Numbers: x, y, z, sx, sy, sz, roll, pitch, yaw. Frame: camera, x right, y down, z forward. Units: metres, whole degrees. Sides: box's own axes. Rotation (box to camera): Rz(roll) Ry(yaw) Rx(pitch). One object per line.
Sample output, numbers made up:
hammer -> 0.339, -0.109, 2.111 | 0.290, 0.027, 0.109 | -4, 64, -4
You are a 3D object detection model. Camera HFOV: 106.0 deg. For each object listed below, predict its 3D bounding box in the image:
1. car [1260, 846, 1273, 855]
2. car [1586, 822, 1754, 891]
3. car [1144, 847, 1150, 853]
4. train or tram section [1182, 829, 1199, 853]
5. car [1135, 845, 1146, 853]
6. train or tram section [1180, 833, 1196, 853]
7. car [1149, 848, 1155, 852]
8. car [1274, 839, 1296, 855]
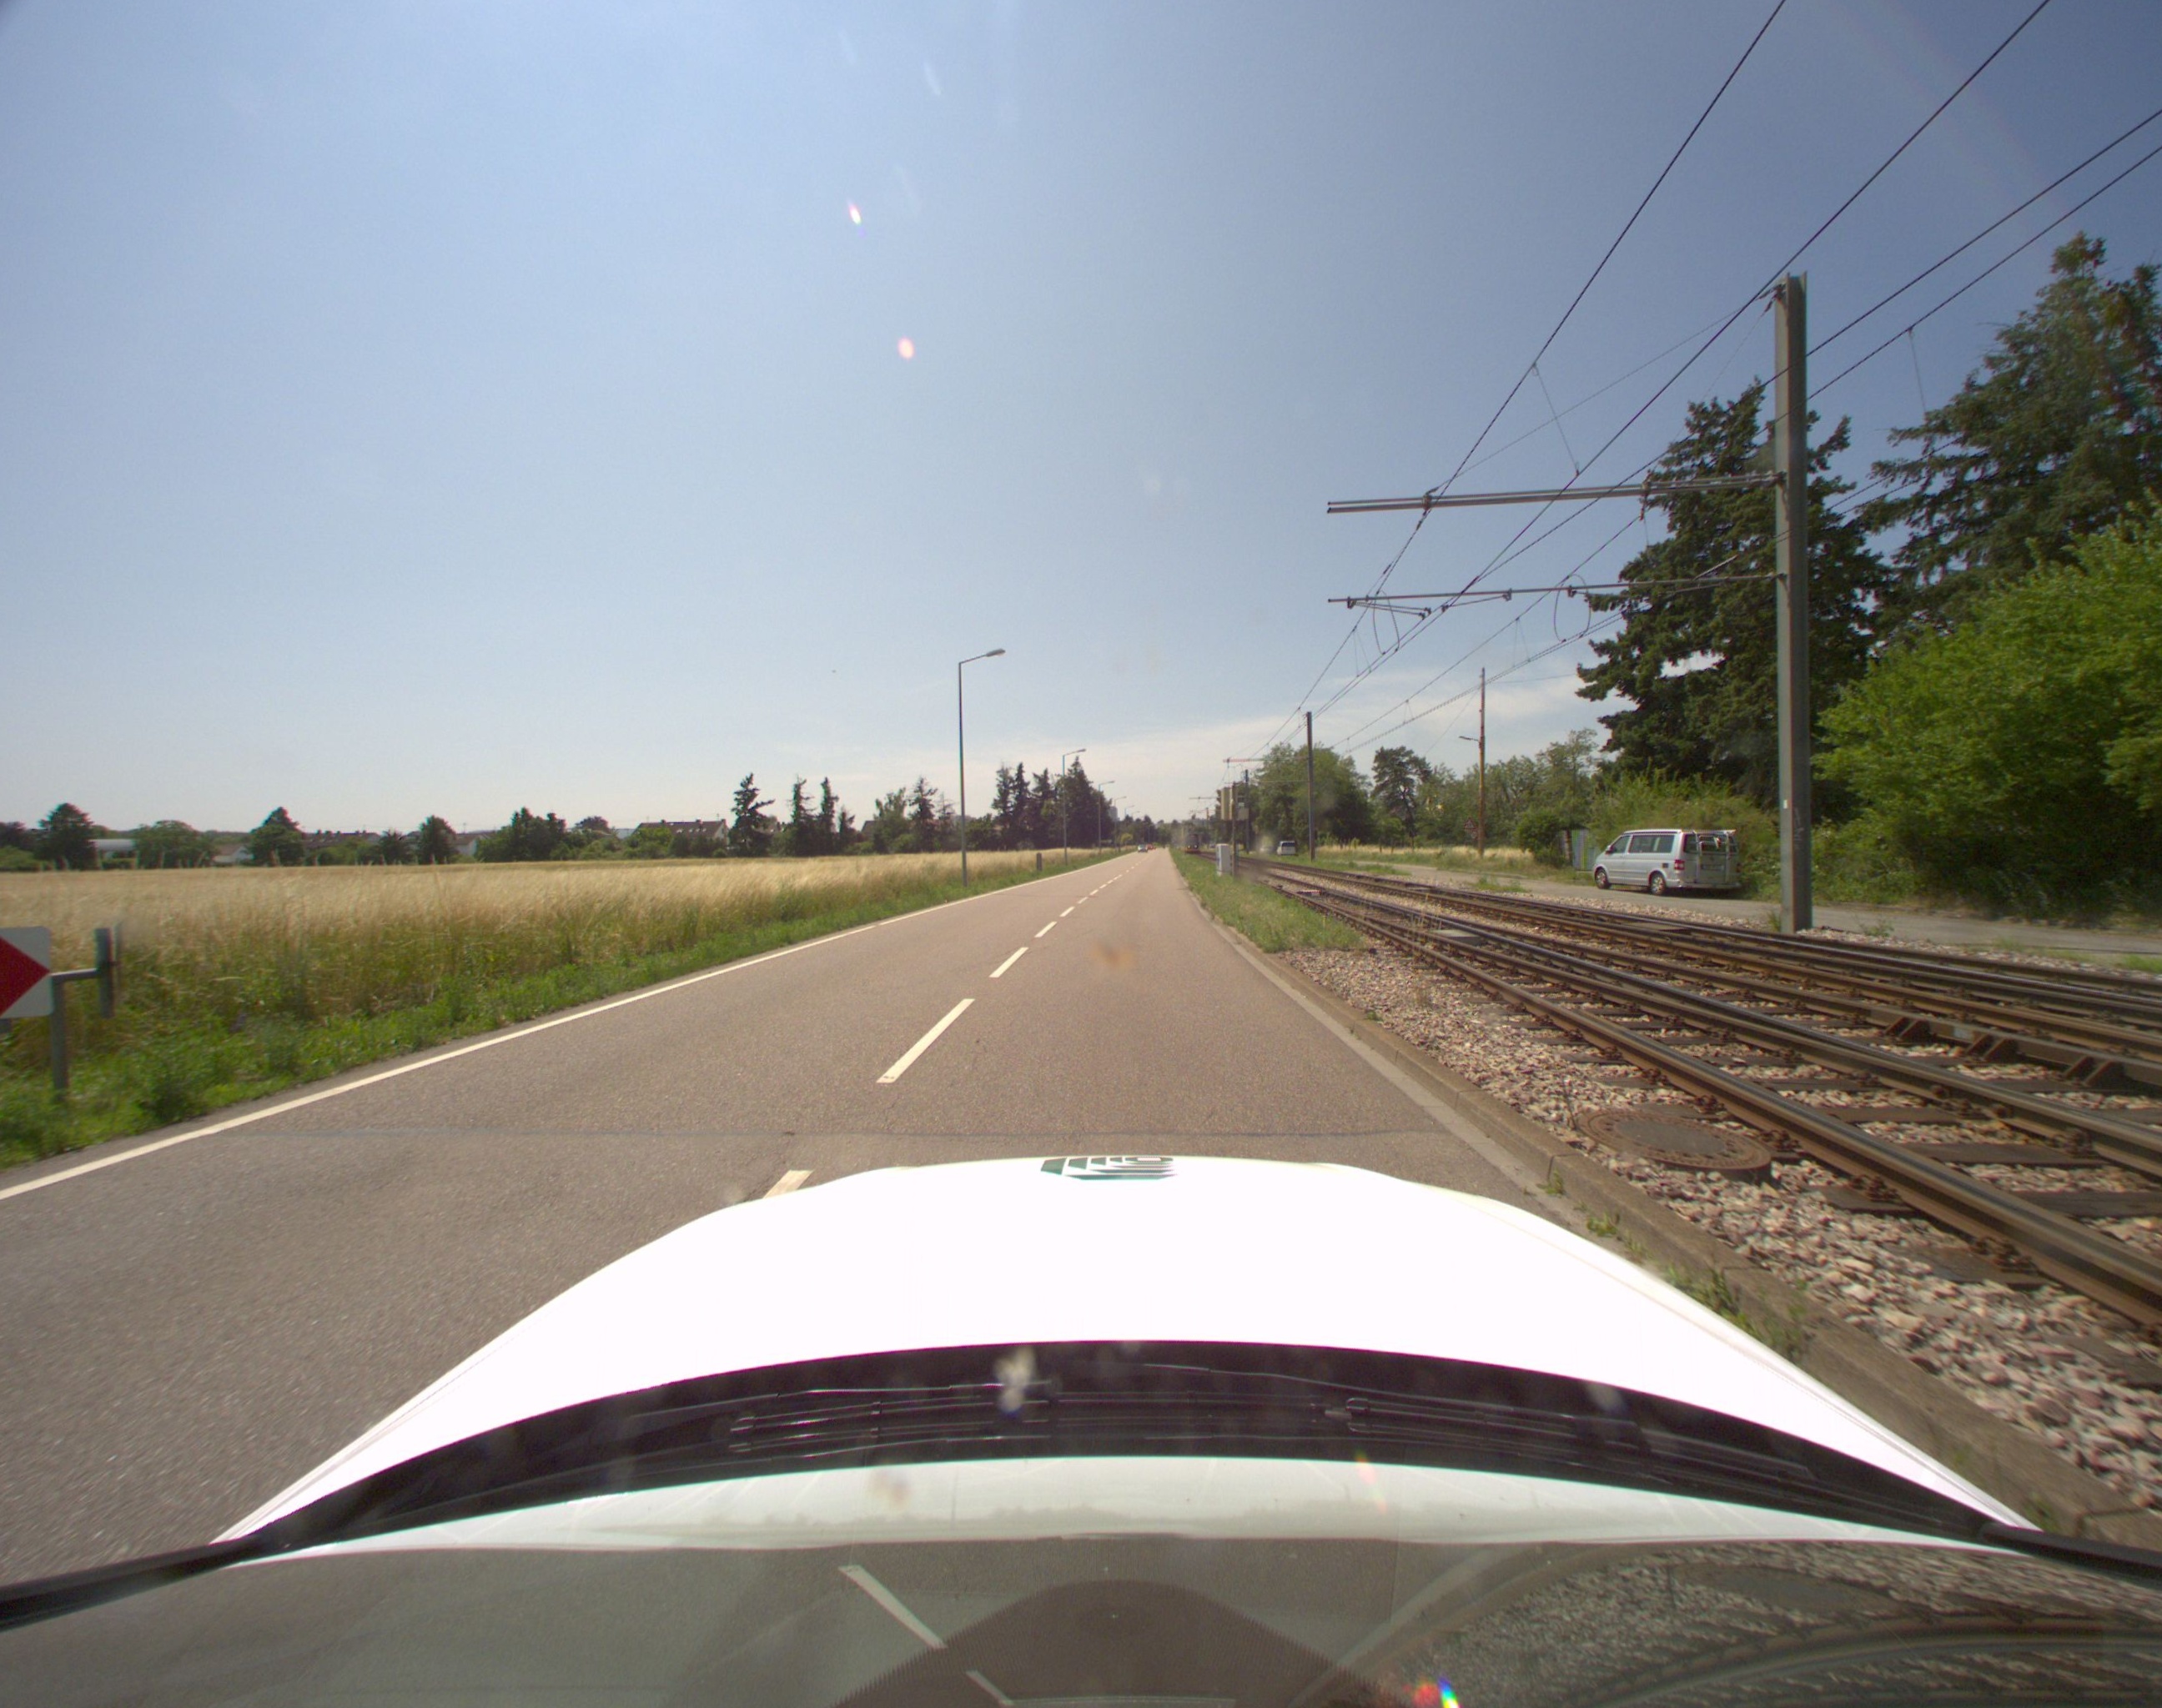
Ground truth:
car -> 27.626, -0.518, 121.533 | 1.421, 1.308, 3.471 | -2, 0, 6
car -> 17.878, 0.086, 25.113 | 2.025, 1.882, 5.080 | -2, 0, 8
car -> 16.928, -1.019, 208.750 | 1.637, 1.400, 3.850 | -1, 0, 6
train or tram section -> 19.222, -2.208, 143.019 | 2.417, 3.766, 11.577 | -2, 0, 6
car -> 11.501, -0.907, 156.811 | 1.825, 1.467, 4.685 | -1, -1, 6
train or tram section -> 20.885, -2.107, 158.867 | 2.688, 3.766, 6.740 | -2, -1, 6
car -> 22.219, -1.334, 256.465 | 1.798, 1.285, 4.293 | -2, 0, 6
car -> 25.644, -0.871, 102.287 | 1.983, 1.802, 4.802 | -2, 0, 6
